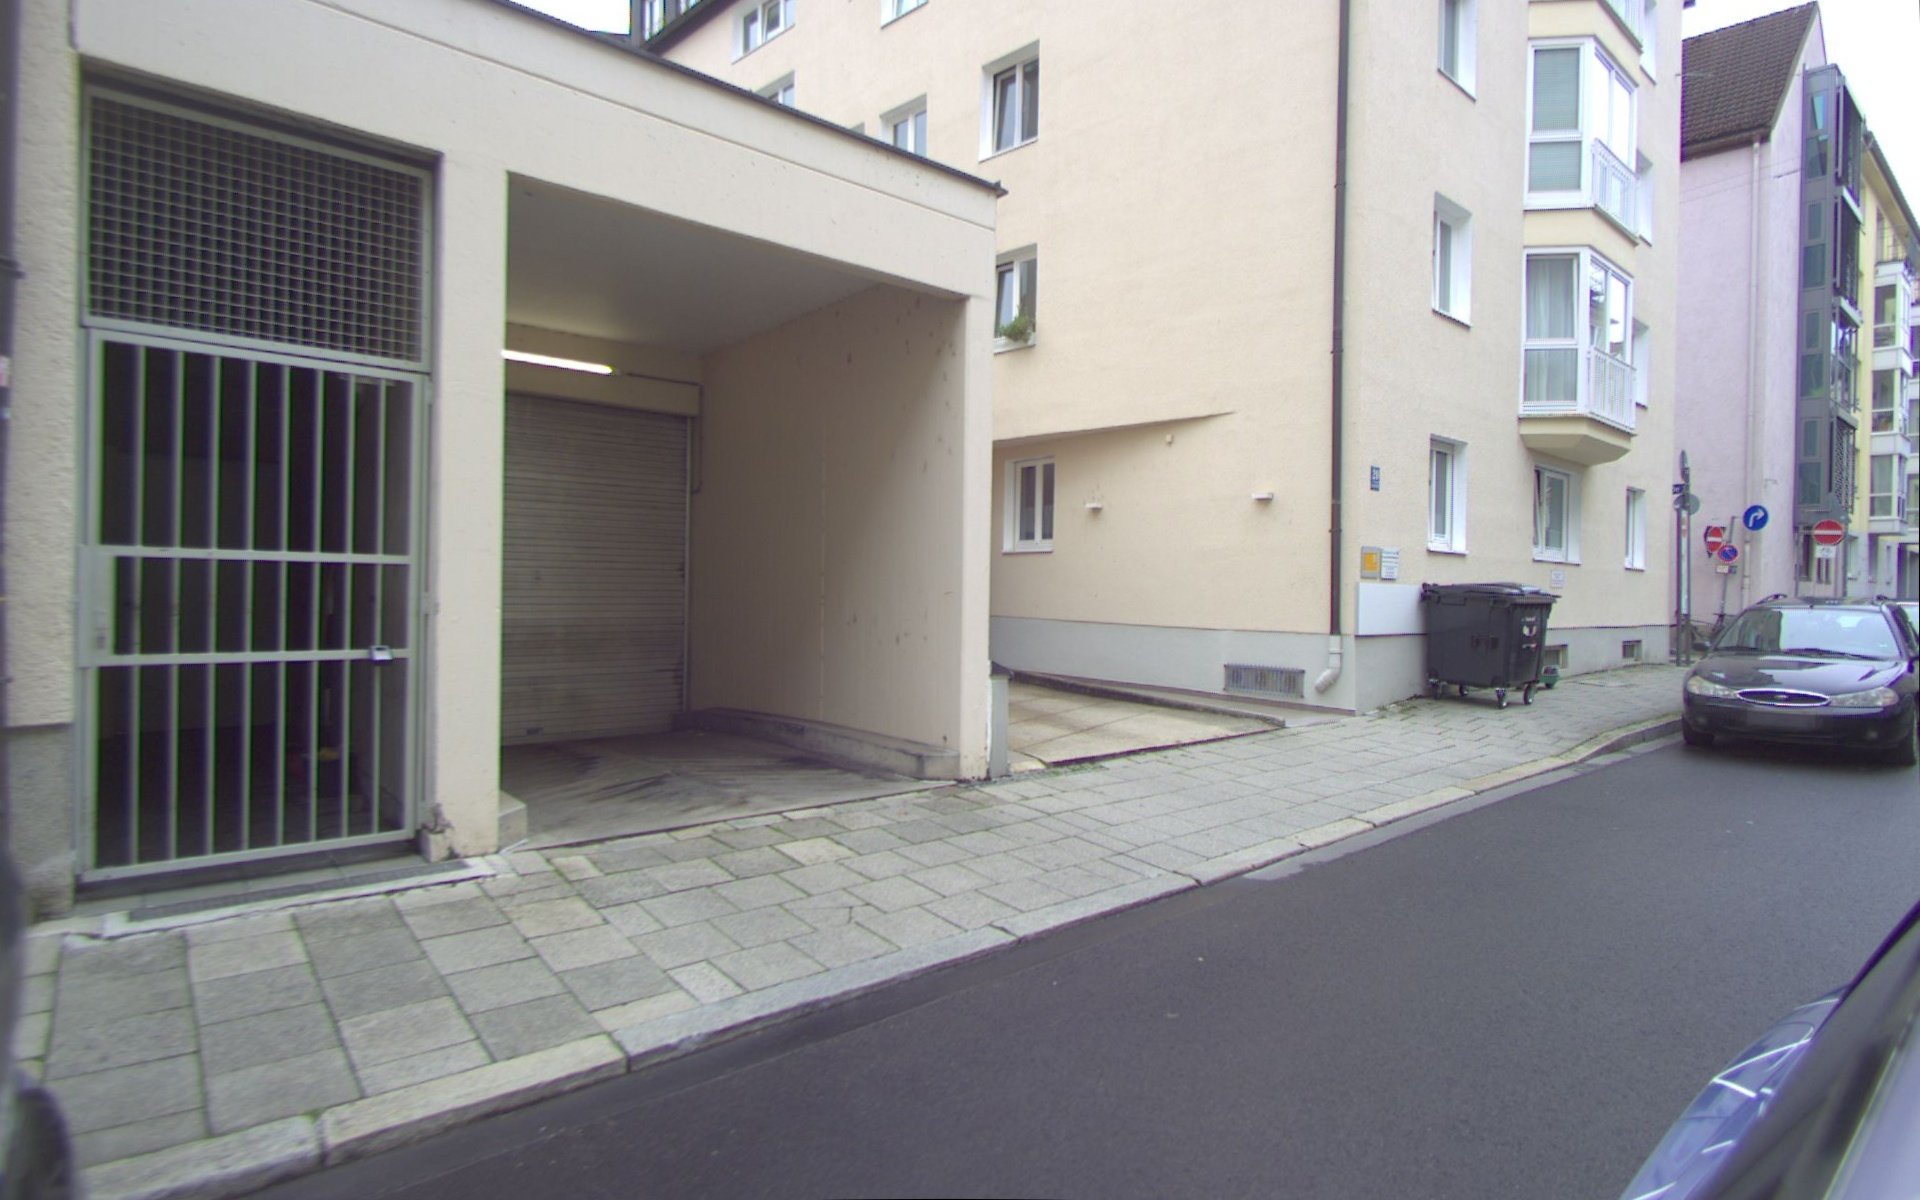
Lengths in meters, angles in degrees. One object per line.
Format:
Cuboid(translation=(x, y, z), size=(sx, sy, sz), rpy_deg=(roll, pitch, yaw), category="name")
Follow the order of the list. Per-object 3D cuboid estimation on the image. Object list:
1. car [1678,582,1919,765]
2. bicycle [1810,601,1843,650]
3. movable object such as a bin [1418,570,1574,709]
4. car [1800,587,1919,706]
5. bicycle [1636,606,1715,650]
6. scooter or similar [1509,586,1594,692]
Cuboid(translation=(8.888, 0.574, 10.330), size=(4.456, 1.490, 1.718), rpy_deg=(-1, 0, -44), category="car")
Cuboid(translation=(20.839, 0.606, 24.343), size=(1.515, 1.136, 0.358), rpy_deg=(0, 0, -40), category="bicycle")
Cuboid(translation=(6.150, 0.396, 11.595), size=(1.559, 1.440, 1.034), rpy_deg=(-1, 3, -41), category="movable object such as a bin")
Cuboid(translation=(13.079, 0.543, 13.804), size=(4.334, 1.424, 1.835), rpy_deg=(-1, 0, -41), category="car")
Cuboid(translation=(16.888, 0.646, 23.901), size=(0.543, 0.959, 1.449), rpy_deg=(1, 0, -44), category="bicycle")
Cuboid(translation=(7.631, 0.472, 13.046), size=(1.117, 1.282, 0.577), rpy_deg=(-1, 3, -41), category="scooter or similar")
